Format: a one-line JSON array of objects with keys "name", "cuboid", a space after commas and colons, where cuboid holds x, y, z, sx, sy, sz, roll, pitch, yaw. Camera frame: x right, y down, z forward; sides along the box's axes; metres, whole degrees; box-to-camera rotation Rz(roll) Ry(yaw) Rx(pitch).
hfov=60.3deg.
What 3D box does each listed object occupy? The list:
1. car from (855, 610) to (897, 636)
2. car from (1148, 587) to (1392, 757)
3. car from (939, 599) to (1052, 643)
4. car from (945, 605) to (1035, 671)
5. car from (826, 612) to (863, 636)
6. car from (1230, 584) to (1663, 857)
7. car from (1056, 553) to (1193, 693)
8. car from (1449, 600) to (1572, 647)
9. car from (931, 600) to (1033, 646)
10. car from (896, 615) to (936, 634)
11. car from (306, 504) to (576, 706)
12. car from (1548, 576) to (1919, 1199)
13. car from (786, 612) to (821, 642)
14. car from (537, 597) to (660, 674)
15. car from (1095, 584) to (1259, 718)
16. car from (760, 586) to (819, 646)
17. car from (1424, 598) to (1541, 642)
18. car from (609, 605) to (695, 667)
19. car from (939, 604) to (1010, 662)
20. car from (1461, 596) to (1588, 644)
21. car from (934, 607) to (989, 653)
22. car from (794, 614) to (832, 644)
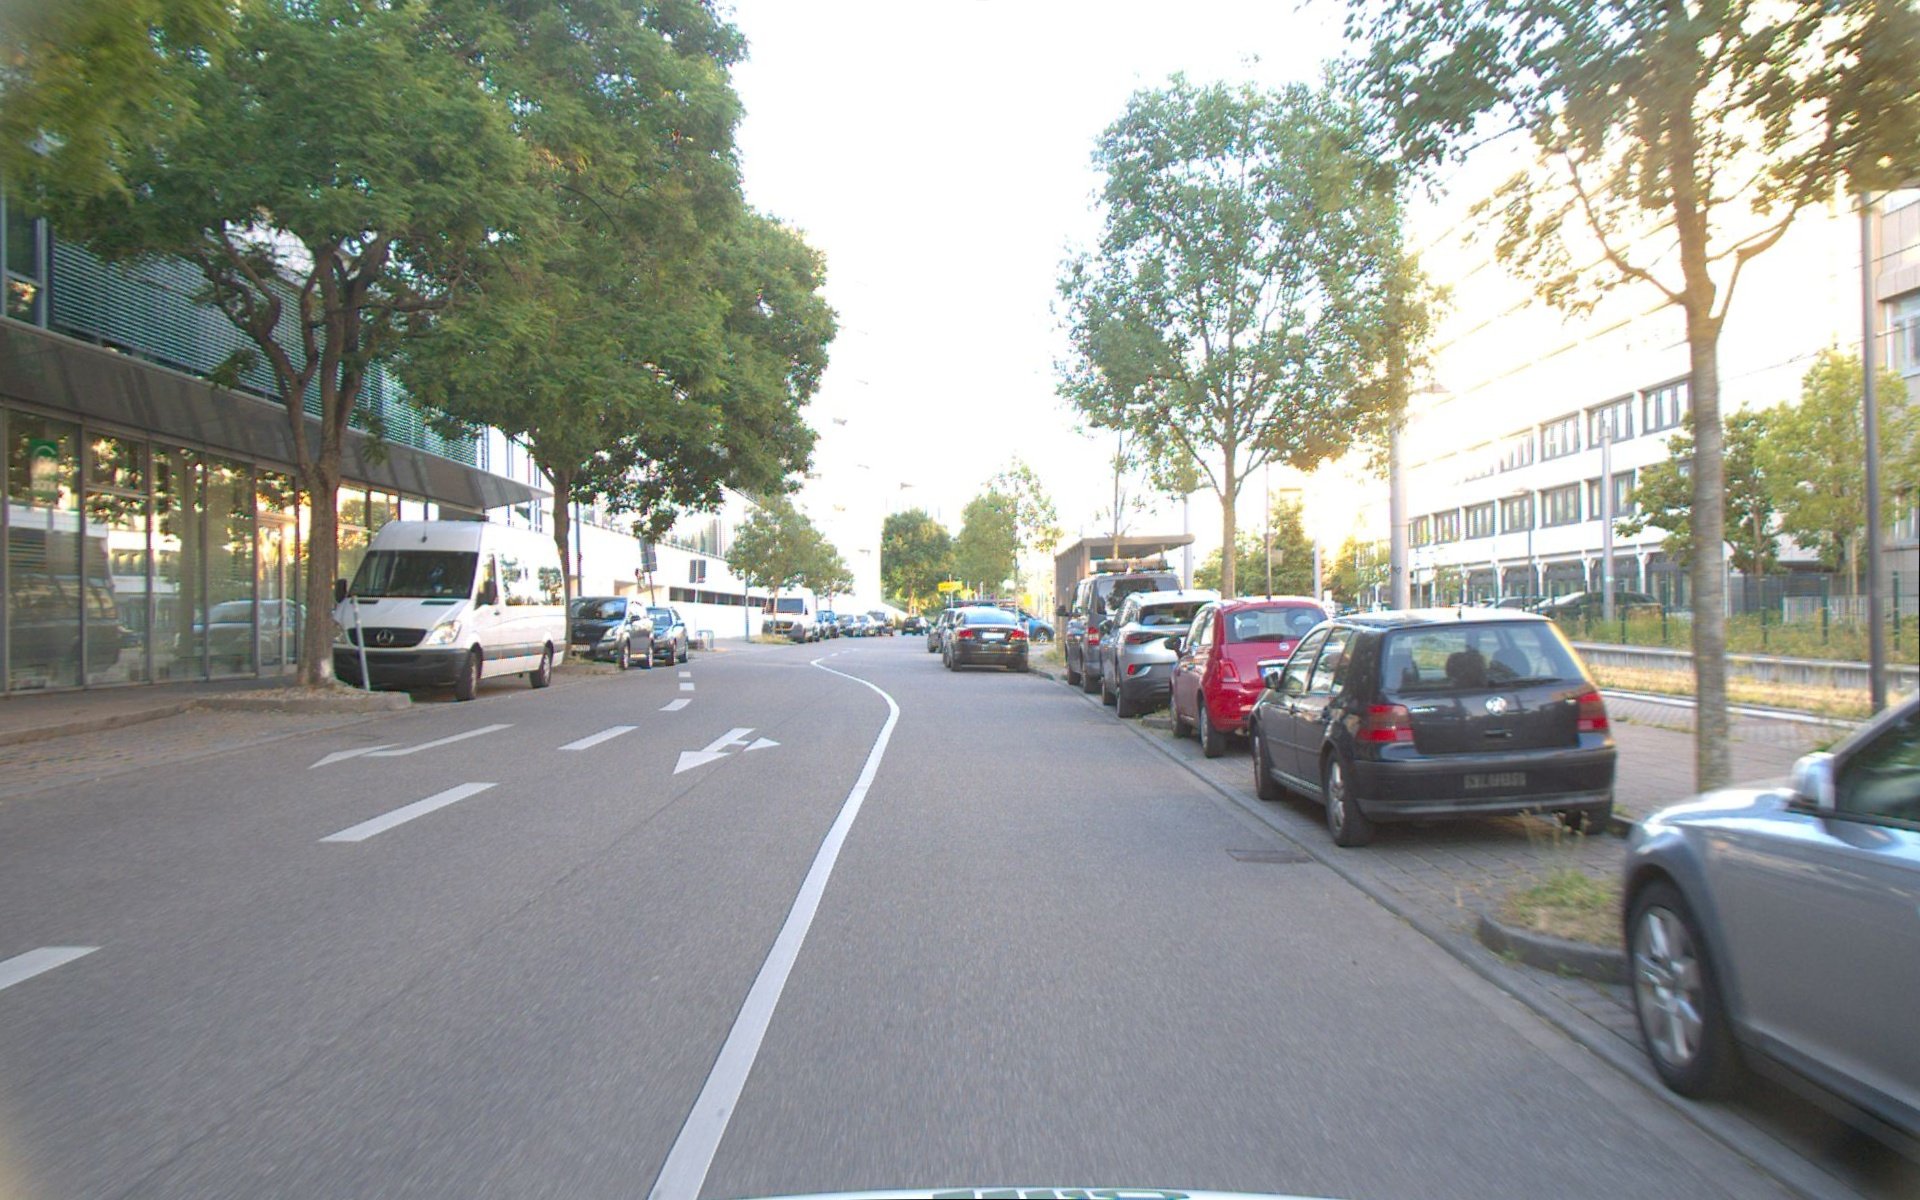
[{"name": "car", "cuboid": [-5.995, 1.646, 118.739, 1.720, 1.830, 4.466, 1, 0, 15]}, {"name": "car", "cuboid": [3.137, 0.690, 17.538, 1.673, 1.519, 4.129, -2, -1, -1]}, {"name": "car", "cuboid": [1.373, 0.794, 62.856, 3.956, 1.547, 1.903, -1, -2, -36]}, {"name": "car", "cuboid": [0.654, 0.859, 39.225, 1.752, 1.477, 4.512, 0, 0, -4]}, {"name": "car", "cuboid": [-7.525, 1.566, 108.031, 1.686, 1.483, 4.274, 1, 0, 6]}, {"name": "car", "cuboid": [3.099, 0.702, 11.409, 1.673, 1.477, 3.999, -2, -1, -1]}, {"name": "car", "cuboid": [2.827, 0.400, 29.379, 1.768, 2.214, 4.734, -2, -1, -1]}, {"name": "car", "cuboid": [20.271, 0.860, 61.004, 3.906, 1.513, 1.675, -3, -1, 0]}, {"name": "car", "cuboid": [1.063, 1.067, 77.212, 4.549, 2.071, 1.849, 1, 0, -35]}, {"name": "car", "cuboid": [-3.421, 1.905, 129.208, 1.903, 1.407, 4.402, 1, 0, 16]}, {"name": "car", "cuboid": [-7.796, 0.091, 25.758, 2.057, 2.710, 6.950, 0, 0, 0]}, {"name": "car", "cuboid": [3.039, 0.695, 3.618, 1.760, 1.522, 4.780, -4, 0, 1]}, {"name": "car", "cuboid": [-8.010, 1.368, 84.753, 1.722, 1.465, 3.897, 1, 0, -5]}, {"name": "car", "cuboid": [-7.869, 0.746, 36.380, 1.806, 1.599, 4.267, 0, 0, -1]}, {"name": "car", "cuboid": [2.904, 0.655, 22.986, 1.672, 1.608, 4.479, -2, -1, 1]}, {"name": "car", "cuboid": [-8.009, 0.734, 78.397, 1.918, 2.663, 6.893, 1, 0, 1]}, {"name": "car", "cuboid": [20.205, 0.766, 64.050, 3.907, 1.540, 1.823, -2, 0, -2]}, {"name": "car", "cuboid": [-7.711, 0.875, 41.740, 1.681, 1.477, 4.394, 0, 0, -5]}, {"name": "car", "cuboid": [0.345, 0.880, 45.126, 1.643, 1.477, 4.184, 0, -1, -3]}, {"name": "car", "cuboid": [20.047, 0.712, 58.847, 3.906, 1.513, 1.675, -3, -1, 0]}, {"name": "car", "cuboid": [0.016, 1.032, 56.885, 1.696, 1.492, 3.997, 2, -1, -2]}, {"name": "car", "cuboid": [-8.291, 1.598, 93.451, 1.720, 1.588, 4.042, 1, 0, 0]}]
